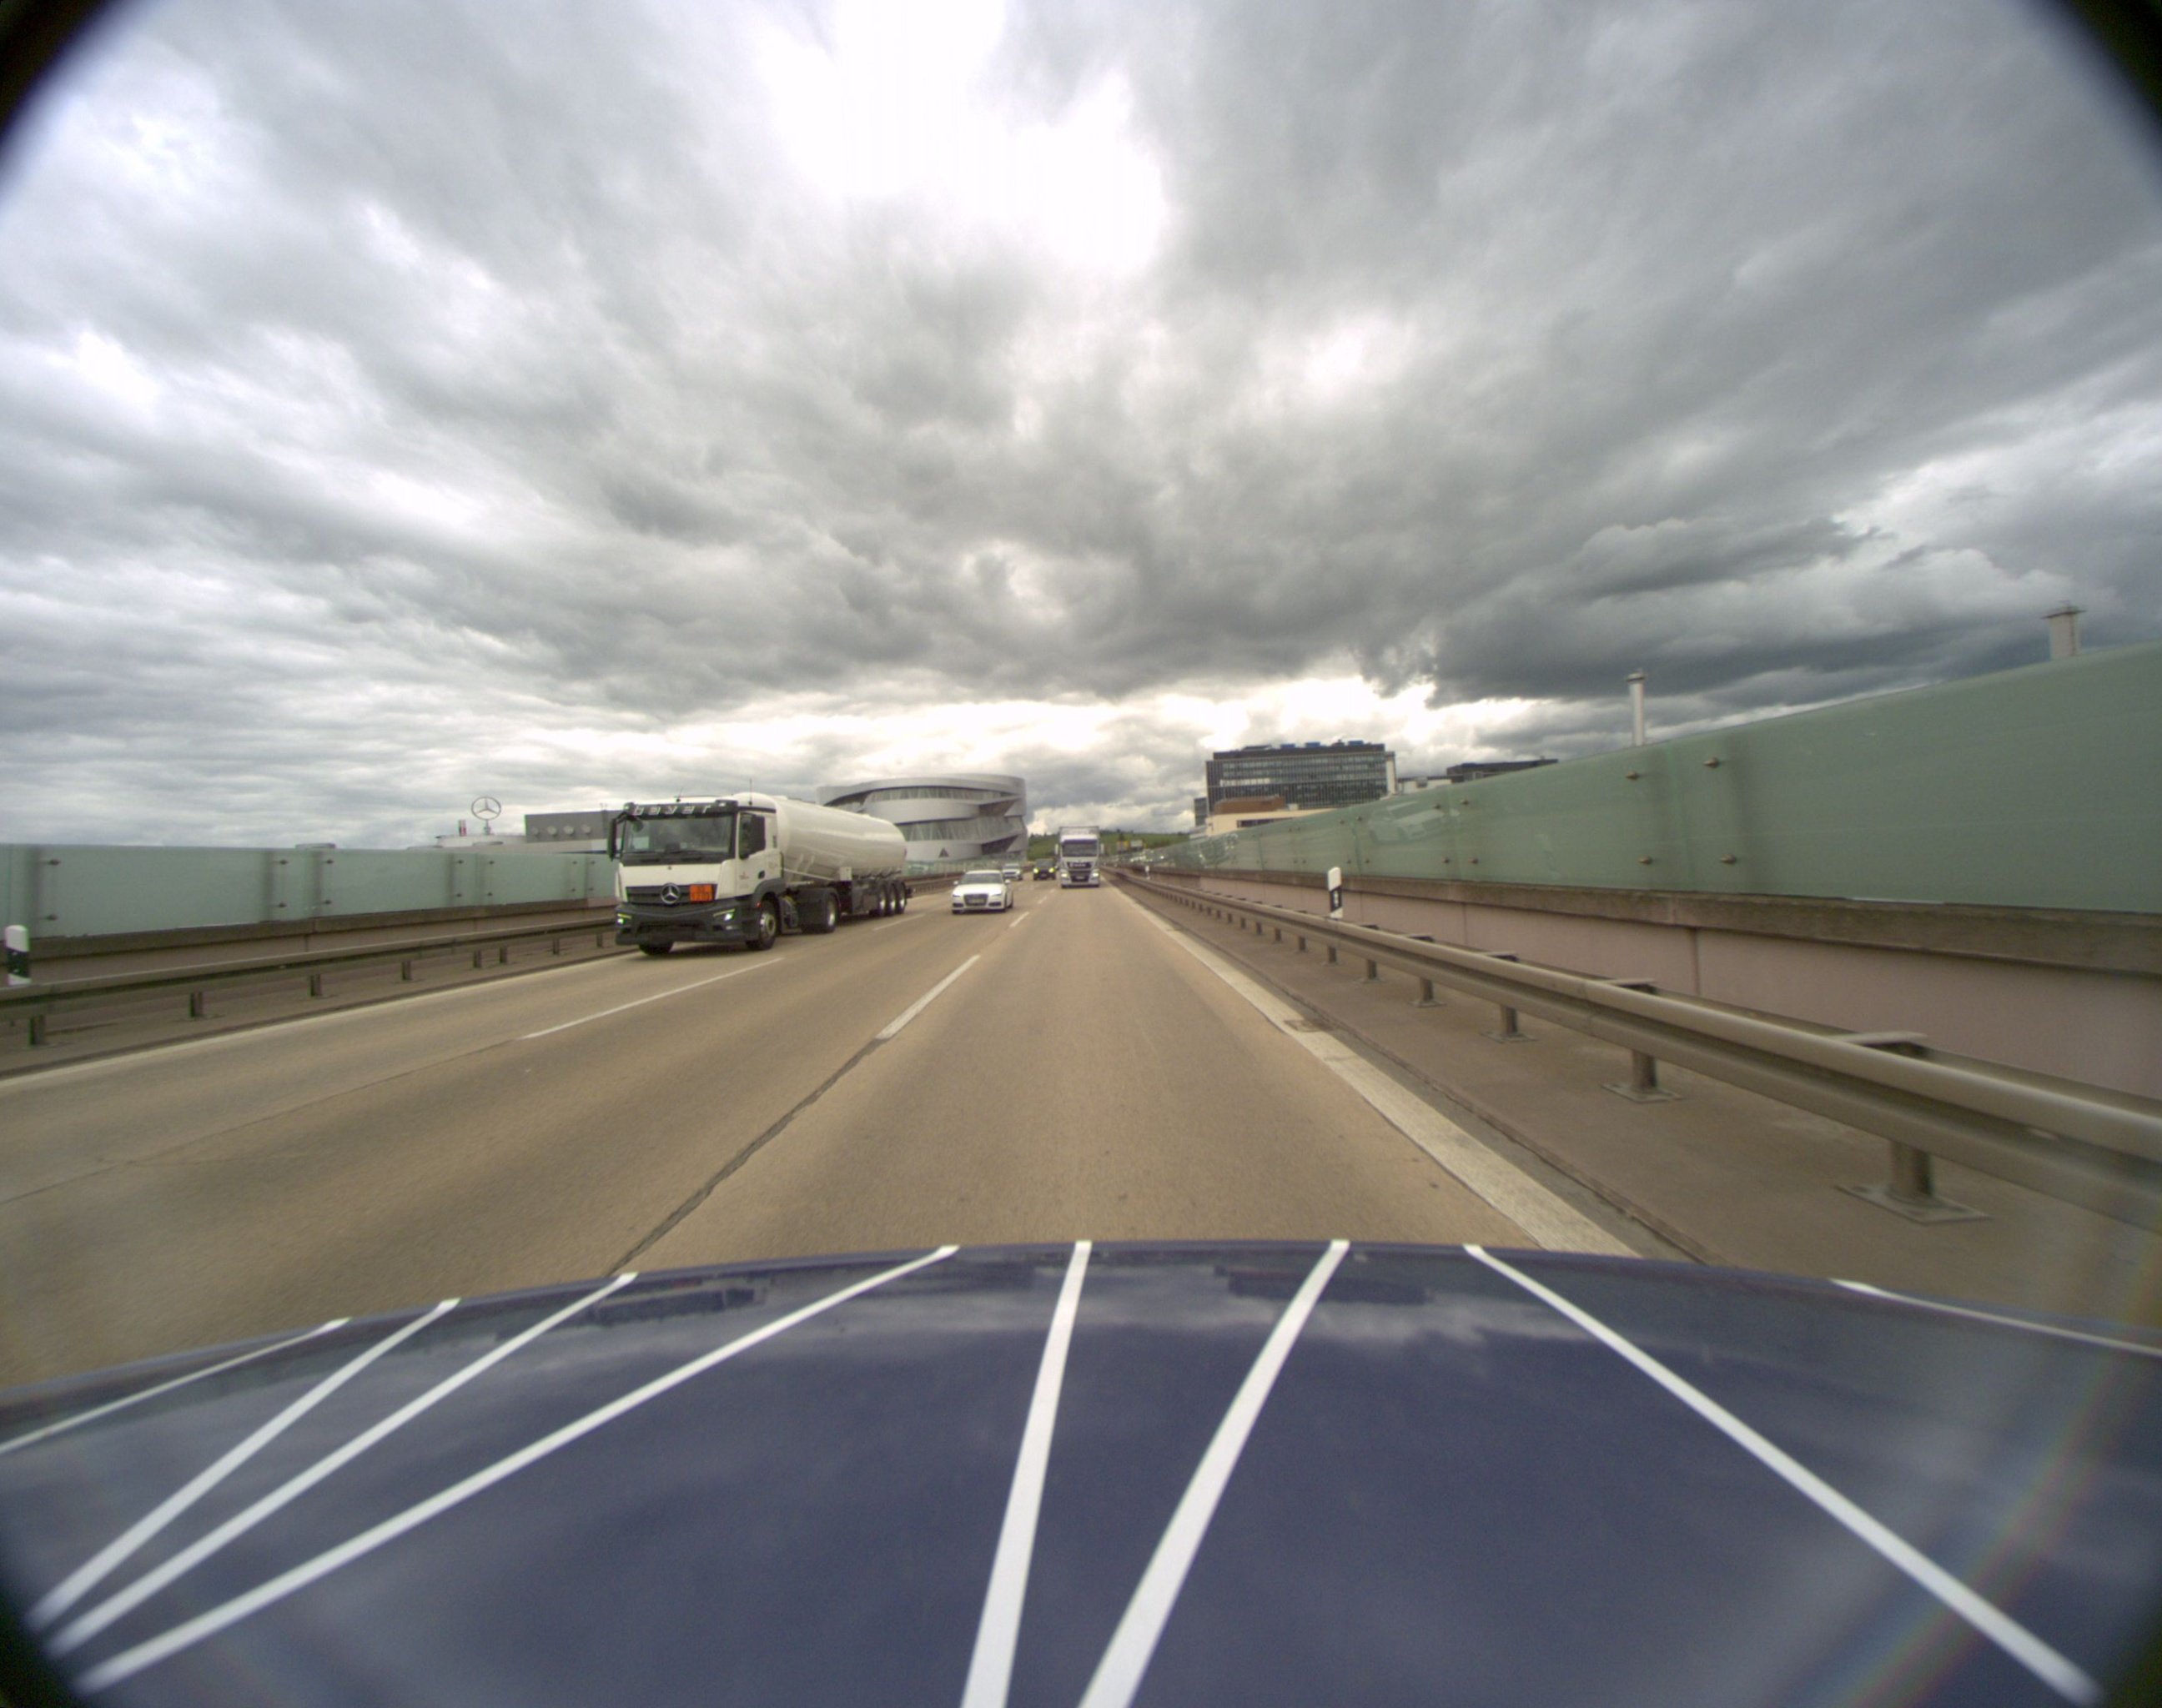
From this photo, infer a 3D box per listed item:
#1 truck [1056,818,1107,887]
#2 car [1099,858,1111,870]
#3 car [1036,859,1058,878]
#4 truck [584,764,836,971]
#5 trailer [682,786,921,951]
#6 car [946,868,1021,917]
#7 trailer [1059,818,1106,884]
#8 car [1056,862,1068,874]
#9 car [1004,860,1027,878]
[{"bbox_3d":[0.097,-0.076,49.376,2.946,4.136,6.291,-2,0,1],"label":"truck"},{"bbox_3d":[4.223,1.671,134.734,1.998,2.002,4.000,-2,0,0],"label":"car"},{"bbox_3d":[-3.164,1.370,71.485,1.765,1.624,3.627,-2,0,1],"label":"car"},{"bbox_3d":[-7.324,0.294,15.835,2.637,3.492,4.905,-4,-1,0],"label":"truck"},{"bbox_3d":[-7.287,0.302,22.207,2.657,3.523,11.219,-2,0,0],"label":"trailer"},{"bbox_3d":[-3.272,1.268,26.176,1.848,1.443,3.933,-2,0,3],"label":"car"},{"bbox_3d":[0.166,-0.165,54.182,2.880,4.104,11.220,-2,0,1],"label":"trailer"},{"bbox_3d":[-3.451,2.559,136.907,1.998,2.002,4.000,-2,0,0],"label":"car"},{"bbox_3d":[-6.330,1.462,73.850,1.785,1.624,3.627,-2,0,1],"label":"car"}]
